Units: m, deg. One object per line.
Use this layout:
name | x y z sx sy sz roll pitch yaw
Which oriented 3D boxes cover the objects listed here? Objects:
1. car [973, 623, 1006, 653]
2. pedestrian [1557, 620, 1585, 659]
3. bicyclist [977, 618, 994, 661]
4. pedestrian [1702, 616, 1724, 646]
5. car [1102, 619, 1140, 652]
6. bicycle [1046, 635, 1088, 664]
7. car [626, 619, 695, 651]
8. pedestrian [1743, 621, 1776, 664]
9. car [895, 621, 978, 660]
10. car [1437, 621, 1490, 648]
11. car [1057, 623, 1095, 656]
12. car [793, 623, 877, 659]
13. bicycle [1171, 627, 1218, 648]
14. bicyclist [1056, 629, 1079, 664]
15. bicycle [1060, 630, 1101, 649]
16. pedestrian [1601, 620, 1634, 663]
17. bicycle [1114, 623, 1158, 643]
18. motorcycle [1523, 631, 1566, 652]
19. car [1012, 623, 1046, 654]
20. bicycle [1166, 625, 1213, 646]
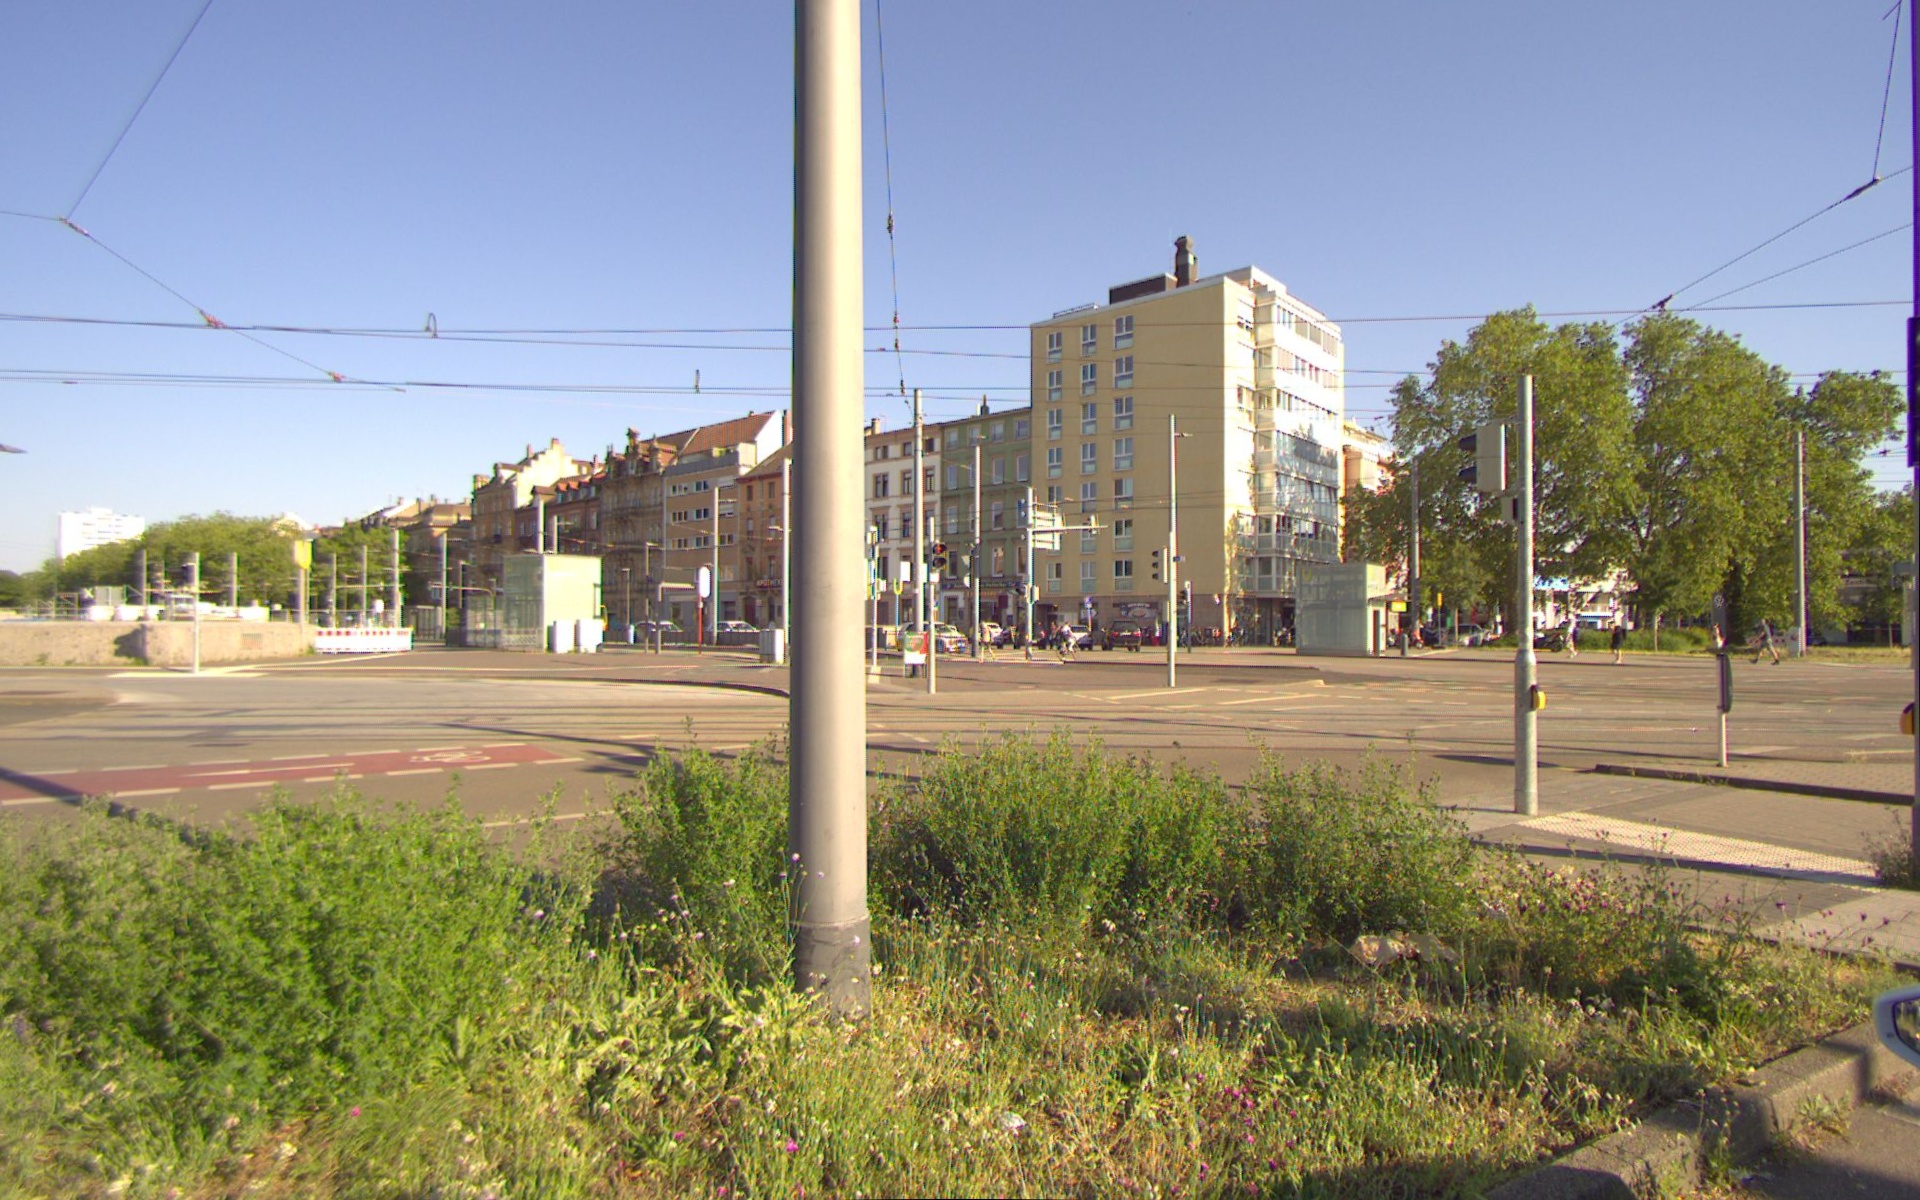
car | 1.900 2.392 63.973 1.960 1.728 4.001 2 0 4
pedestrian | 28.062 1.799 46.117 0.747 1.728 0.793 2 0 -22
bicyclist | 1.031 1.602 40.754 0.653 1.706 0.980 2 0 2
pedestrian | 43.816 1.802 58.456 0.491 1.716 0.852 2 0 -32
car | 9.170 1.982 57.385 1.684 1.728 4.001 2 0 4
bicycle | 4.354 1.995 40.680 0.617 1.104 1.914 2 0 44
car | -19.536 2.229 65.486 4.837 1.849 1.990 2 0 41
pedestrian | 33.427 1.767 41.983 0.747 1.728 0.793 2 0 -22
car | -1.184 1.949 48.997 3.944 1.684 1.776 1 0 44
car | 32.011 2.205 63.813 3.973 1.588 1.753 2 0 -44
car | 6.818 2.301 59.323 1.960 1.728 4.001 2 0 4
car | -6.750 2.171 54.112 4.648 1.684 1.778 2 0 39
bicycle | 14.851 2.380 63.767 3.003 1.167 0.637 1 0 44
bicyclist | 4.339 1.860 40.644 0.617 1.368 0.658 2 0 44
bicycle | 8.271 2.674 68.966 3.003 1.167 0.637 1 0 44
pedestrian | 26.973 1.686 41.211 0.747 1.728 0.793 2 0 -22
bicycle | 11.567 2.155 66.103 3.003 1.167 0.637 1 0 44
motorcycle | 29.147 2.059 50.113 1.753 0.926 0.676 2 0 41
car | 4.189 2.315 61.516 1.960 1.728 4.001 2 0 4
bicycle | 14.428 2.232 63.246 3.003 1.167 0.637 1 0 44
